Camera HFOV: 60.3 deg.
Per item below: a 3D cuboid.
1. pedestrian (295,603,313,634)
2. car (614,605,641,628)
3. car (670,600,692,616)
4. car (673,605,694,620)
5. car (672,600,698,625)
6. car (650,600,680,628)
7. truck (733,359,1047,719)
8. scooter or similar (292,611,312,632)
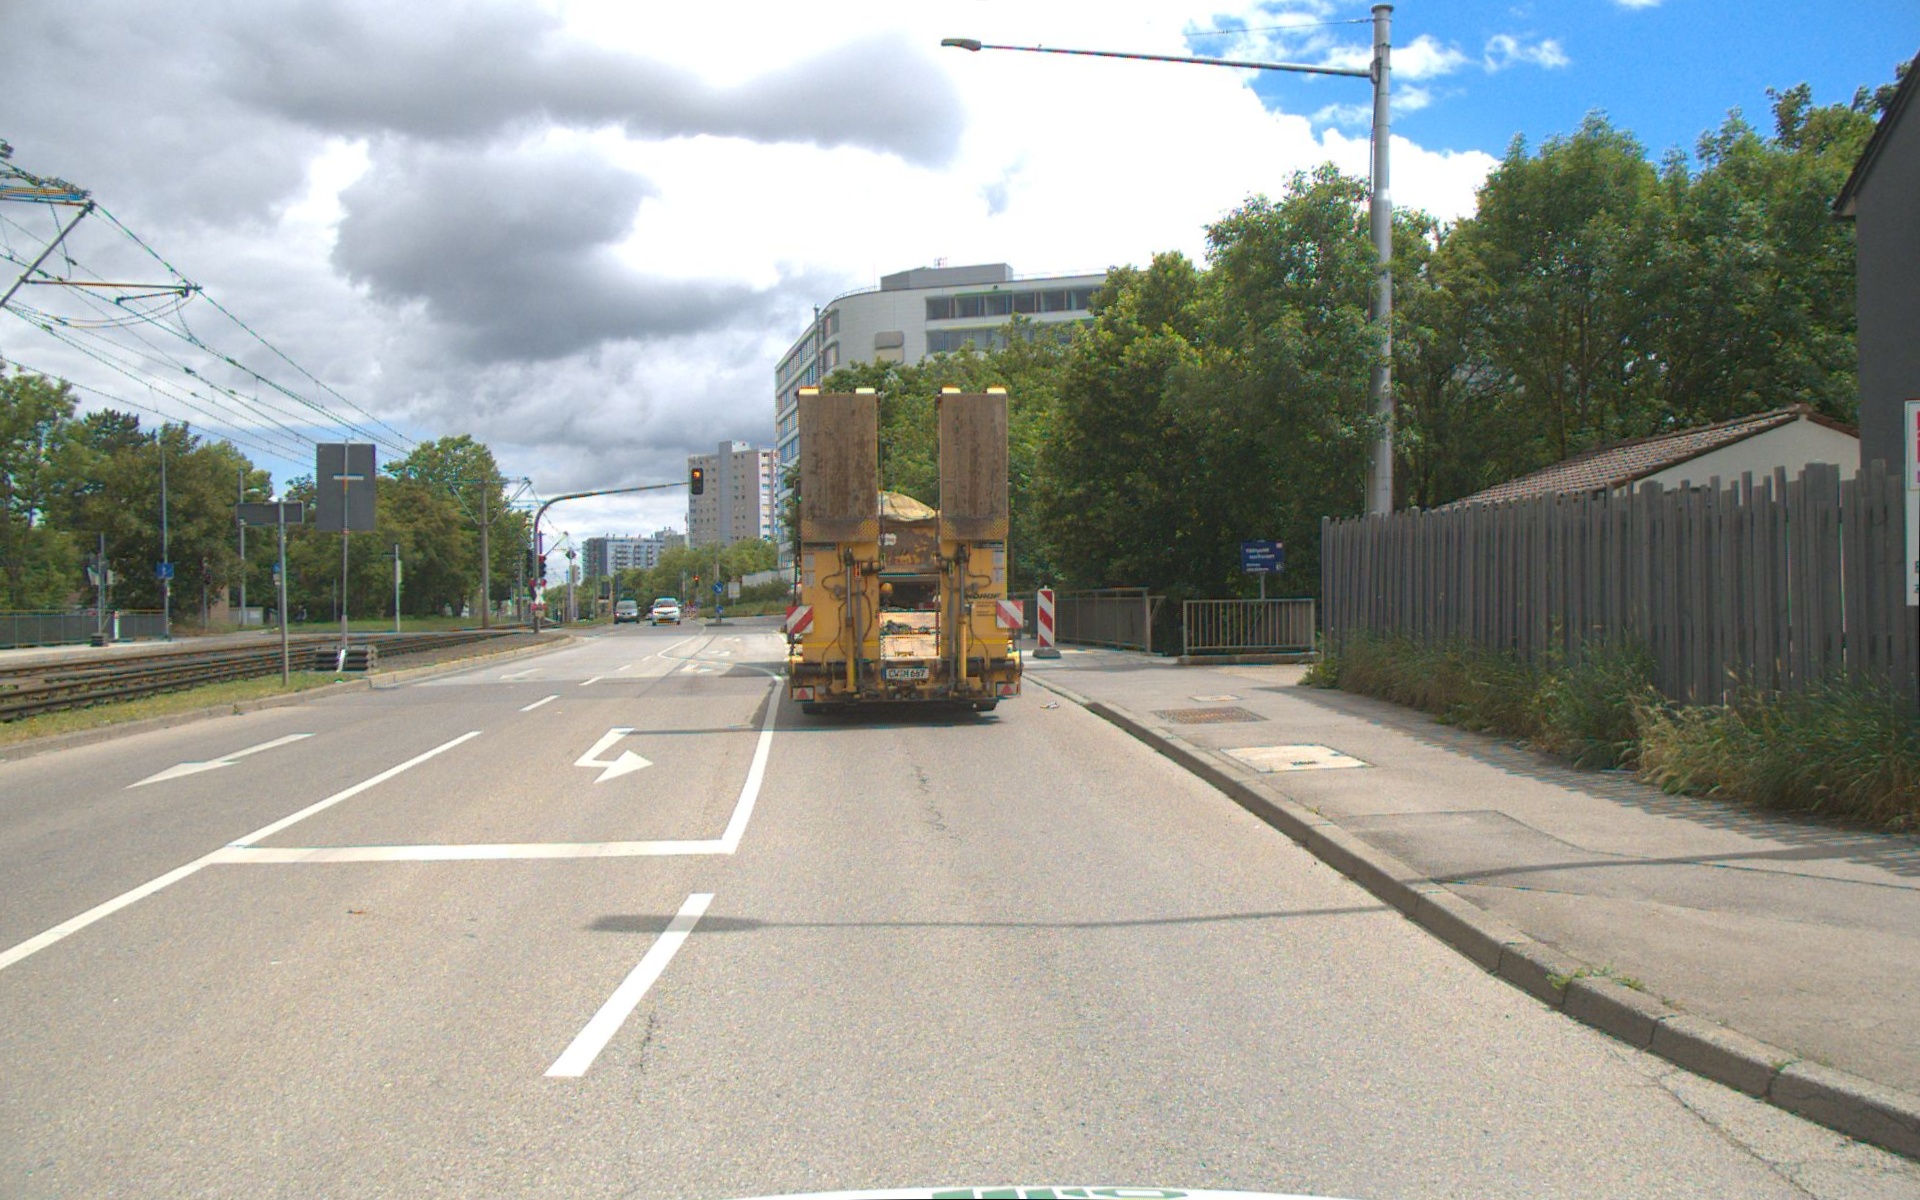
[{"bbox_3d":[-38.939,1.083,98.138,0.786,1.843,0.808,1,-1,-6],"label":"pedestrian"},{"bbox_3d":[-23.729,1.190,118.160,1.751,1.597,4.334,-1,0,-10],"label":"car"},{"bbox_3d":[-25.818,0.768,152.938,1.957,1.445,3.991,1,0,-9],"label":"car"},{"bbox_3d":[-27.177,1.247,162.821,1.957,1.445,3.991,1,0,-9],"label":"car"},{"bbox_3d":[-21.661,0.969,130.254,1.957,1.959,3.991,1,0,-9],"label":"car"},{"bbox_3d":[-17.431,0.829,97.708,1.563,1.553,3.649,-1,0,-8],"label":"car"},{"bbox_3d":[-1.151,-0.581,23.484,3.251,3.715,12.551,0,0,-4],"label":"truck"},{"bbox_3d":[-38.648,1.238,97.182,0.873,1.205,0.971,1,-1,-7],"label":"scooter or similar"}]
